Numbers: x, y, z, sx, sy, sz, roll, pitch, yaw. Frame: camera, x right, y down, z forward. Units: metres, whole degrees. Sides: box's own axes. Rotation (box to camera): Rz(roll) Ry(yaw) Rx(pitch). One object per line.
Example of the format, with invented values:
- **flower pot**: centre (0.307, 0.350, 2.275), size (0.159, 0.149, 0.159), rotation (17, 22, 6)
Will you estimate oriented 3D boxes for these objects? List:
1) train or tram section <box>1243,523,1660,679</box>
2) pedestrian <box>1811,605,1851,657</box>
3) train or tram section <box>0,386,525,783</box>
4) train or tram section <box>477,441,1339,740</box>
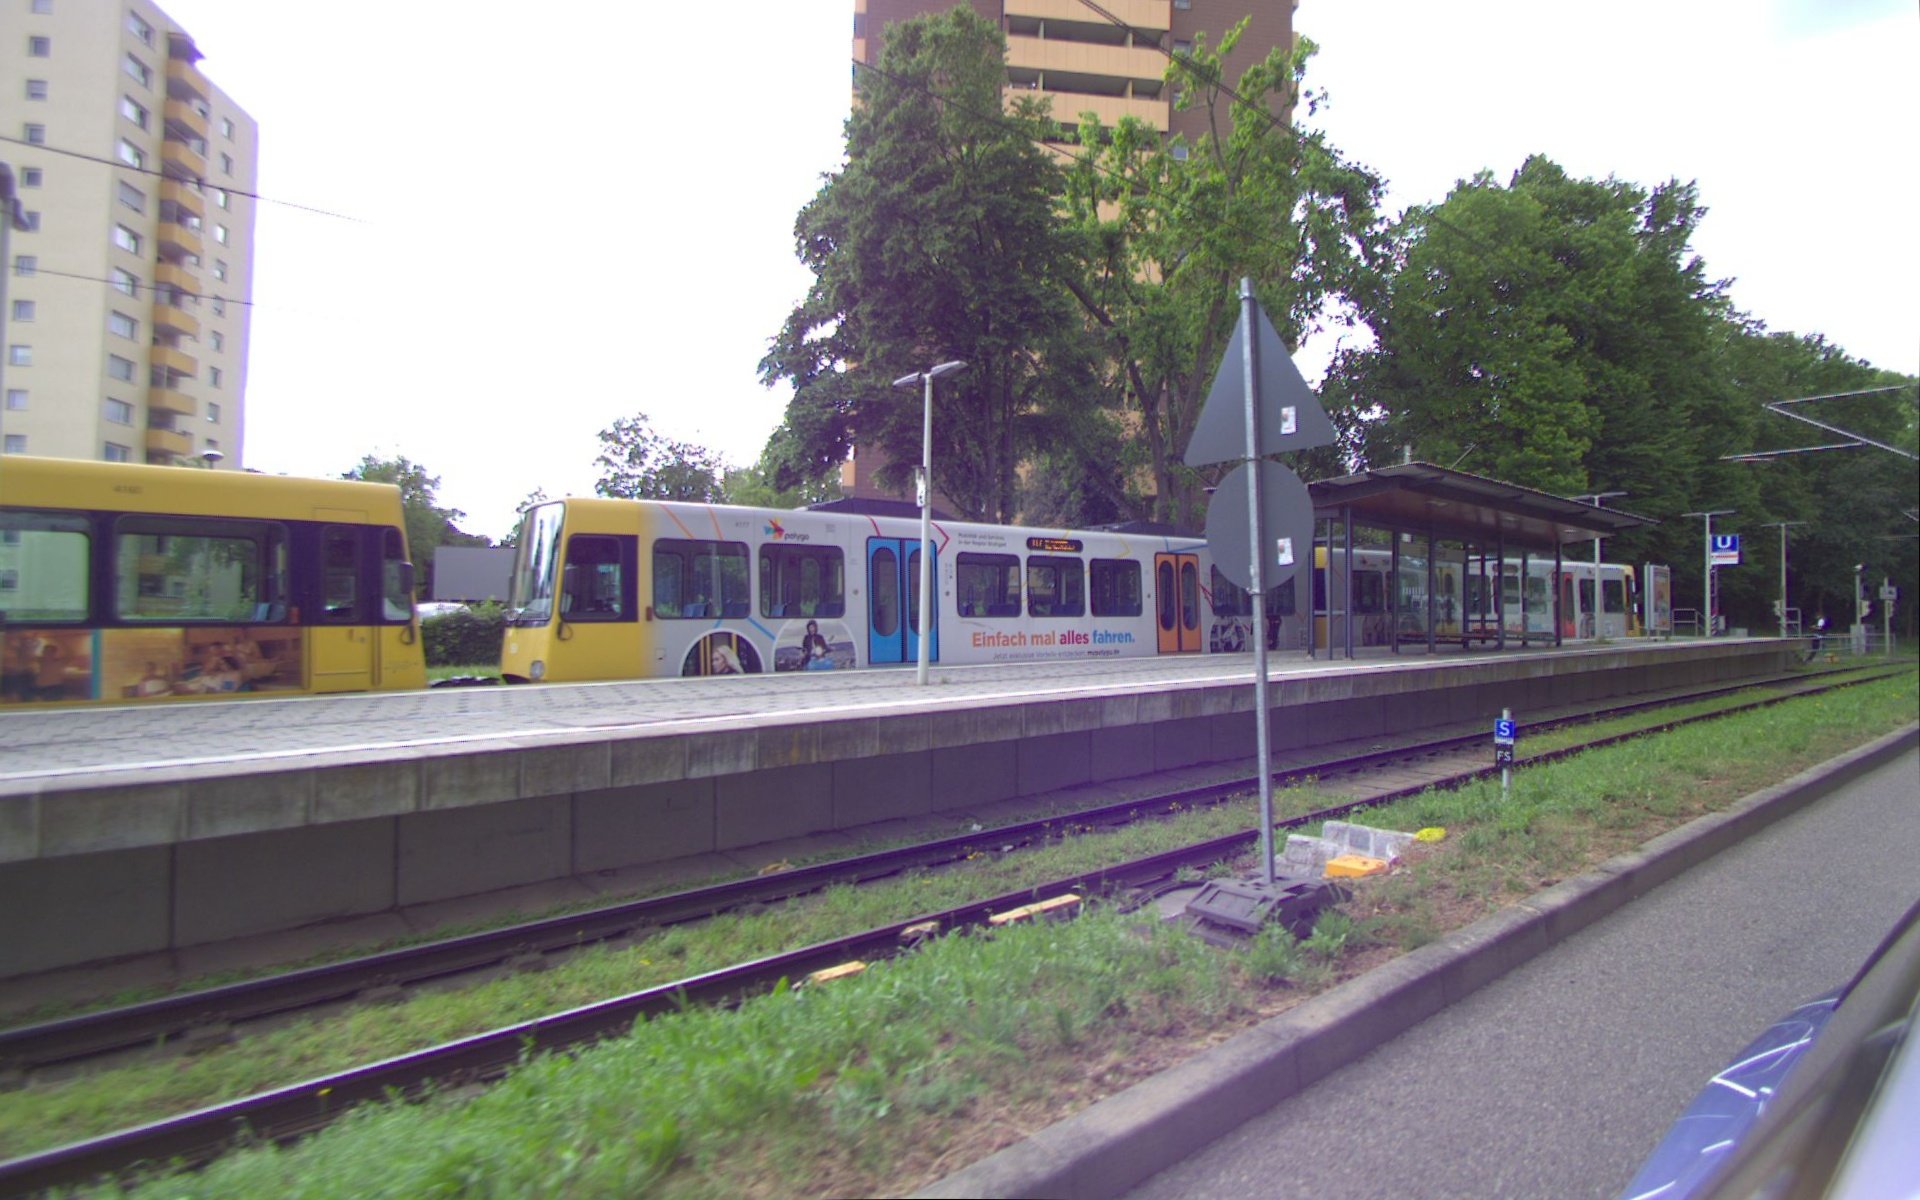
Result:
- **train or tram section**: centre (15.813, 0.090, 30.854), size (18.177, 3.785, 2.822), rotation (0, -2, -35)
- **pedestrian**: centre (30.667, 1.095, 35.636), size (0.717, 1.781, 0.984), rotation (3, -4, -44)
- **train or tram section**: centre (-13.598, -0.152, 7.540), size (19.175, 3.785, 2.816), rotation (1, -2, -42)
- **train or tram section**: centre (0.903, -0.037, 19.835), size (18.584, 3.848, 2.820), rotation (0, -2, -38)
